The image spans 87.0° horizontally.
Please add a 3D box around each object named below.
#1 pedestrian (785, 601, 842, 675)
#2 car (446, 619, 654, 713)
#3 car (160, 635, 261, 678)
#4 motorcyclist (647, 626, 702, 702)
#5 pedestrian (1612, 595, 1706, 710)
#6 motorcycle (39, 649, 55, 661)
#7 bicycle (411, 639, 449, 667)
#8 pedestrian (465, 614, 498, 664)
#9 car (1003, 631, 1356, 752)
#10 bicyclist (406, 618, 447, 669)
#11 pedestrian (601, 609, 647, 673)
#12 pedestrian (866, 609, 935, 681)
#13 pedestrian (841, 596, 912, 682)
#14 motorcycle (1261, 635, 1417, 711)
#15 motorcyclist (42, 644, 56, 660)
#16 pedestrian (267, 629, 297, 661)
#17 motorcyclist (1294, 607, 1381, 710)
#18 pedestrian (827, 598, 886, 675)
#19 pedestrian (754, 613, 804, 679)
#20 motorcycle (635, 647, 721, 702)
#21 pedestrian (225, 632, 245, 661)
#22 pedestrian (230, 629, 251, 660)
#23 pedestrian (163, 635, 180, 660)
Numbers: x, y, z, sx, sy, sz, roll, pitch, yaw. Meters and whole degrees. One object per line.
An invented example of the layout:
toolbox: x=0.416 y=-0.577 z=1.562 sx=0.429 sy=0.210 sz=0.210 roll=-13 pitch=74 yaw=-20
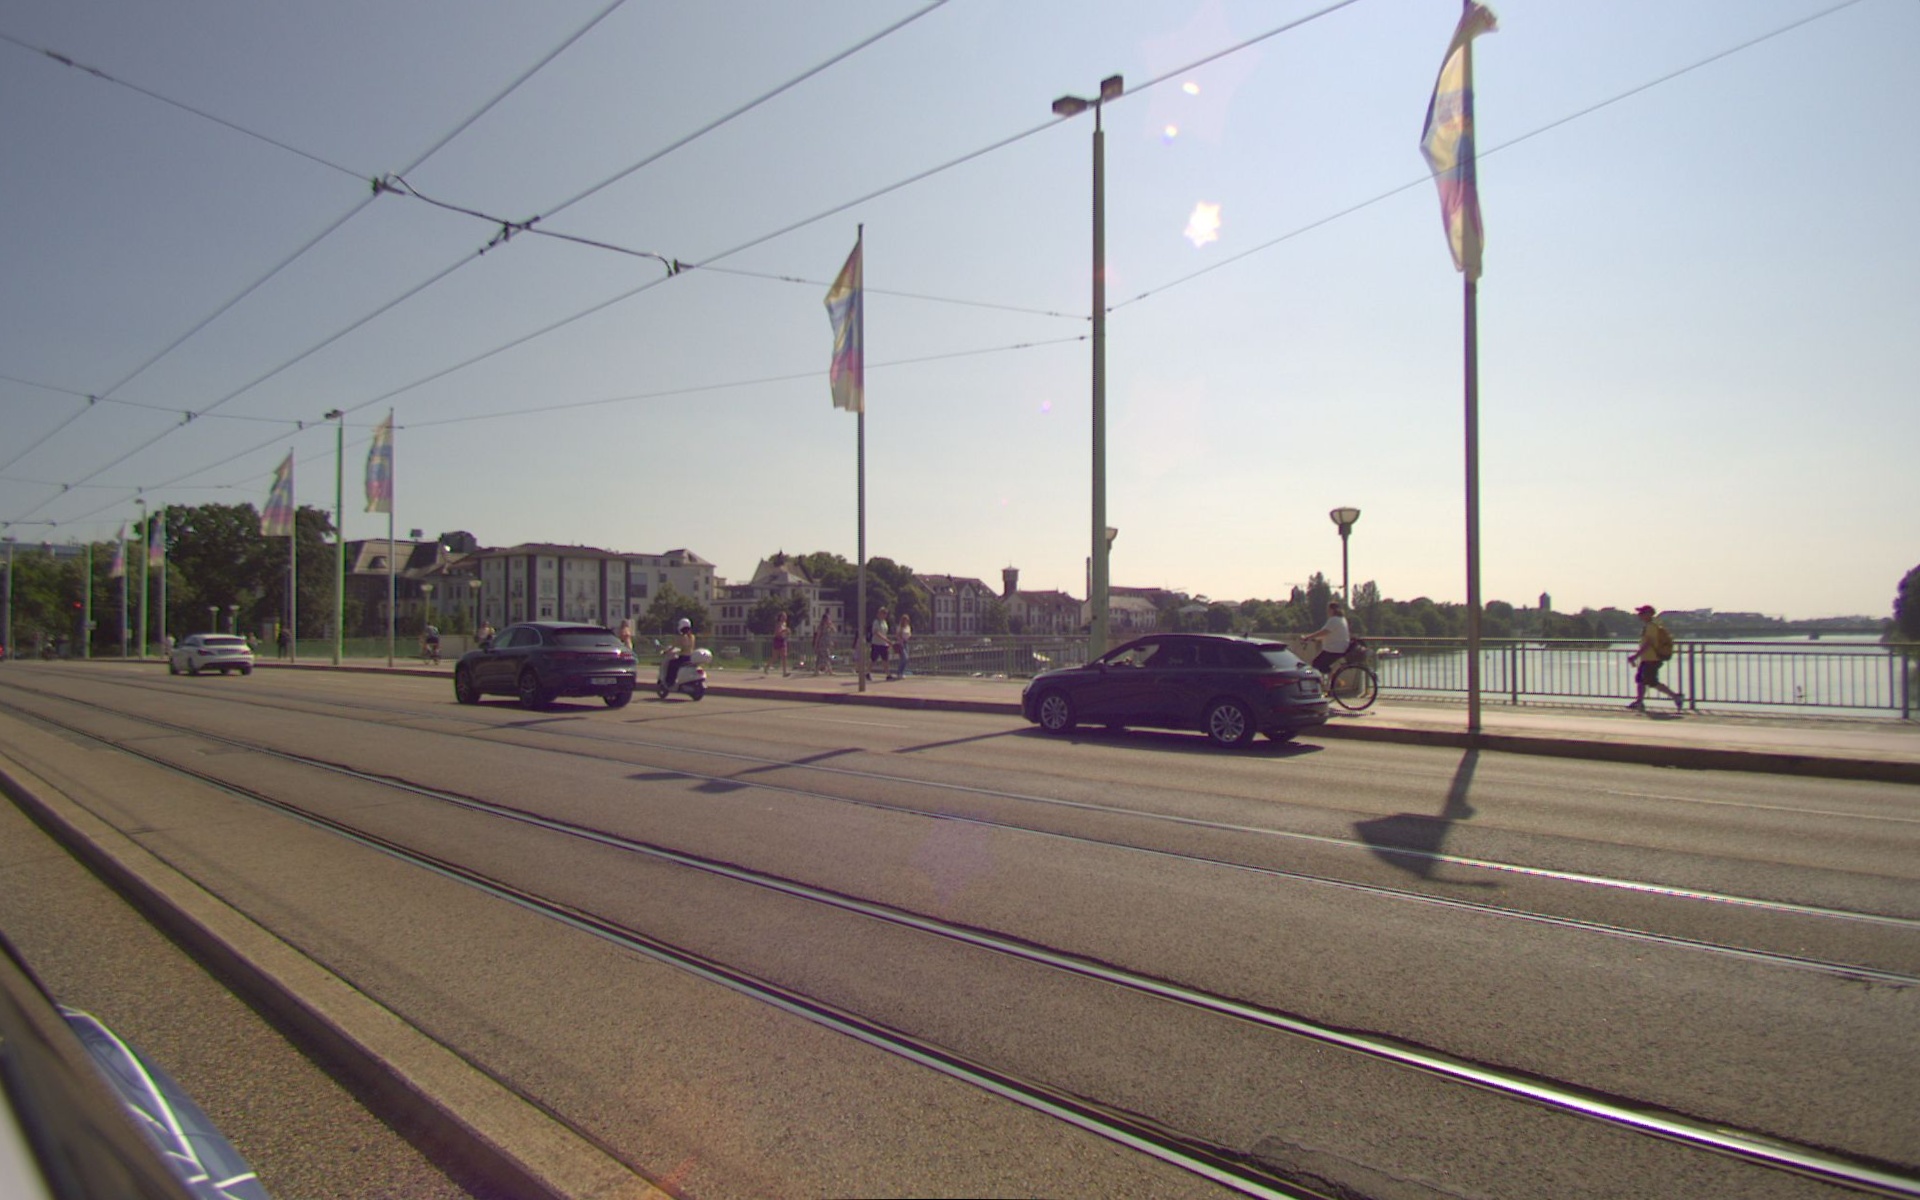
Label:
pedestrian: x=-4.096 y=1.061 z=28.319 sx=1.128 sy=2.029 sz=1.086 roll=-3 pitch=-3 yaw=38
car: x=-7.941 y=1.226 z=19.443 sx=4.336 sy=1.612 sz=1.972 roll=-2 pitch=-4 yaw=41
car: x=-26.810 y=1.993 z=36.137 sx=4.545 sy=1.420 sz=1.973 roll=-2 pitch=-2 yaw=41
motorcyclist: x=-6.147 y=1.369 z=21.788 sx=0.831 sy=1.586 sz=0.819 roll=-2 pitch=-2 yaw=40
pedestrian: x=10.672 y=0.785 z=15.451 sx=1.028 sy=1.671 sz=0.889 roll=-2 pitch=-2 yaw=43
motorcycle: x=-81.822 y=4.889 z=90.711 sx=1.950 sy=1.033 sz=0.836 roll=-3 pitch=-2 yaw=40
bicycle: x=-21.340 y=2.124 z=40.727 sx=2.110 sy=1.105 sz=0.583 roll=-3 pitch=-3 yaw=39
pedestrian: x=-19.937 y=1.634 z=42.138 sx=1.041 sy=2.029 sz=0.890 roll=-3 pitch=-3 yaw=38
car: x=2.839 y=1.133 z=13.734 sx=4.380 sy=1.373 sz=1.740 roll=-2 pitch=-2 yaw=41
bicyclist: x=-21.467 y=1.748 z=40.730 sx=1.128 sy=1.976 sz=1.086 roll=-3 pitch=-3 yaw=38
pedestrian: x=-10.892 y=1.315 z=32.777 sx=1.099 sy=2.029 sz=0.960 roll=-3 pitch=-3 yaw=36
pedestrian: x=-1.490 y=1.123 z=25.283 sx=1.293 sy=1.742 sz=1.086 roll=-3 pitch=-3 yaw=38
pedestrian: x=-2.015 y=0.942 z=24.504 sx=1.293 sy=2.029 sz=1.086 roll=-3 pitch=-3 yaw=38
motorcycle: x=5.946 y=1.122 z=15.973 sx=2.177 sy=1.118 sz=0.694 roll=-2 pitch=-2 yaw=41
motorcyclist: x=-81.514 y=4.654 z=90.549 sx=0.897 sy=1.412 sz=0.836 roll=-3 pitch=-2 yaw=38
pedestrian: x=-38.072 y=2.528 z=56.815 sx=1.293 sy=1.772 sz=1.086 roll=-3 pitch=-3 yaw=38
motorcyclist: x=5.956 y=0.906 z=15.979 sx=1.068 sy=1.561 sz=0.792 roll=-2 pitch=-2 yaw=40
pedestrian: x=-2.795 y=0.994 z=27.391 sx=1.128 sy=2.029 sz=1.086 roll=-3 pitch=-3 yaw=38
pedestrian: x=-4.877 y=1.219 z=27.234 sx=1.174 sy=1.735 sz=0.747 roll=-2 pitch=-2 yaw=39
motorcycle: x=-6.087 y=1.579 z=21.789 sx=2.177 sy=1.118 sz=0.694 roll=-2 pitch=-2 yaw=41
pedestrian: x=-45.984 y=2.946 z=64.179 sx=0.956 sy=1.798 sz=0.731 roll=-3 pitch=0 yaw=39
pedestrian: x=-45.920 y=2.844 z=64.621 sx=1.120 sy=1.863 sz=0.731 roll=-3 pitch=0 yaw=39
pedestrian: x=-60.797 y=3.654 z=78.008 sx=0.974 sy=1.867 sz=0.731 roll=-3 pitch=0 yaw=39
